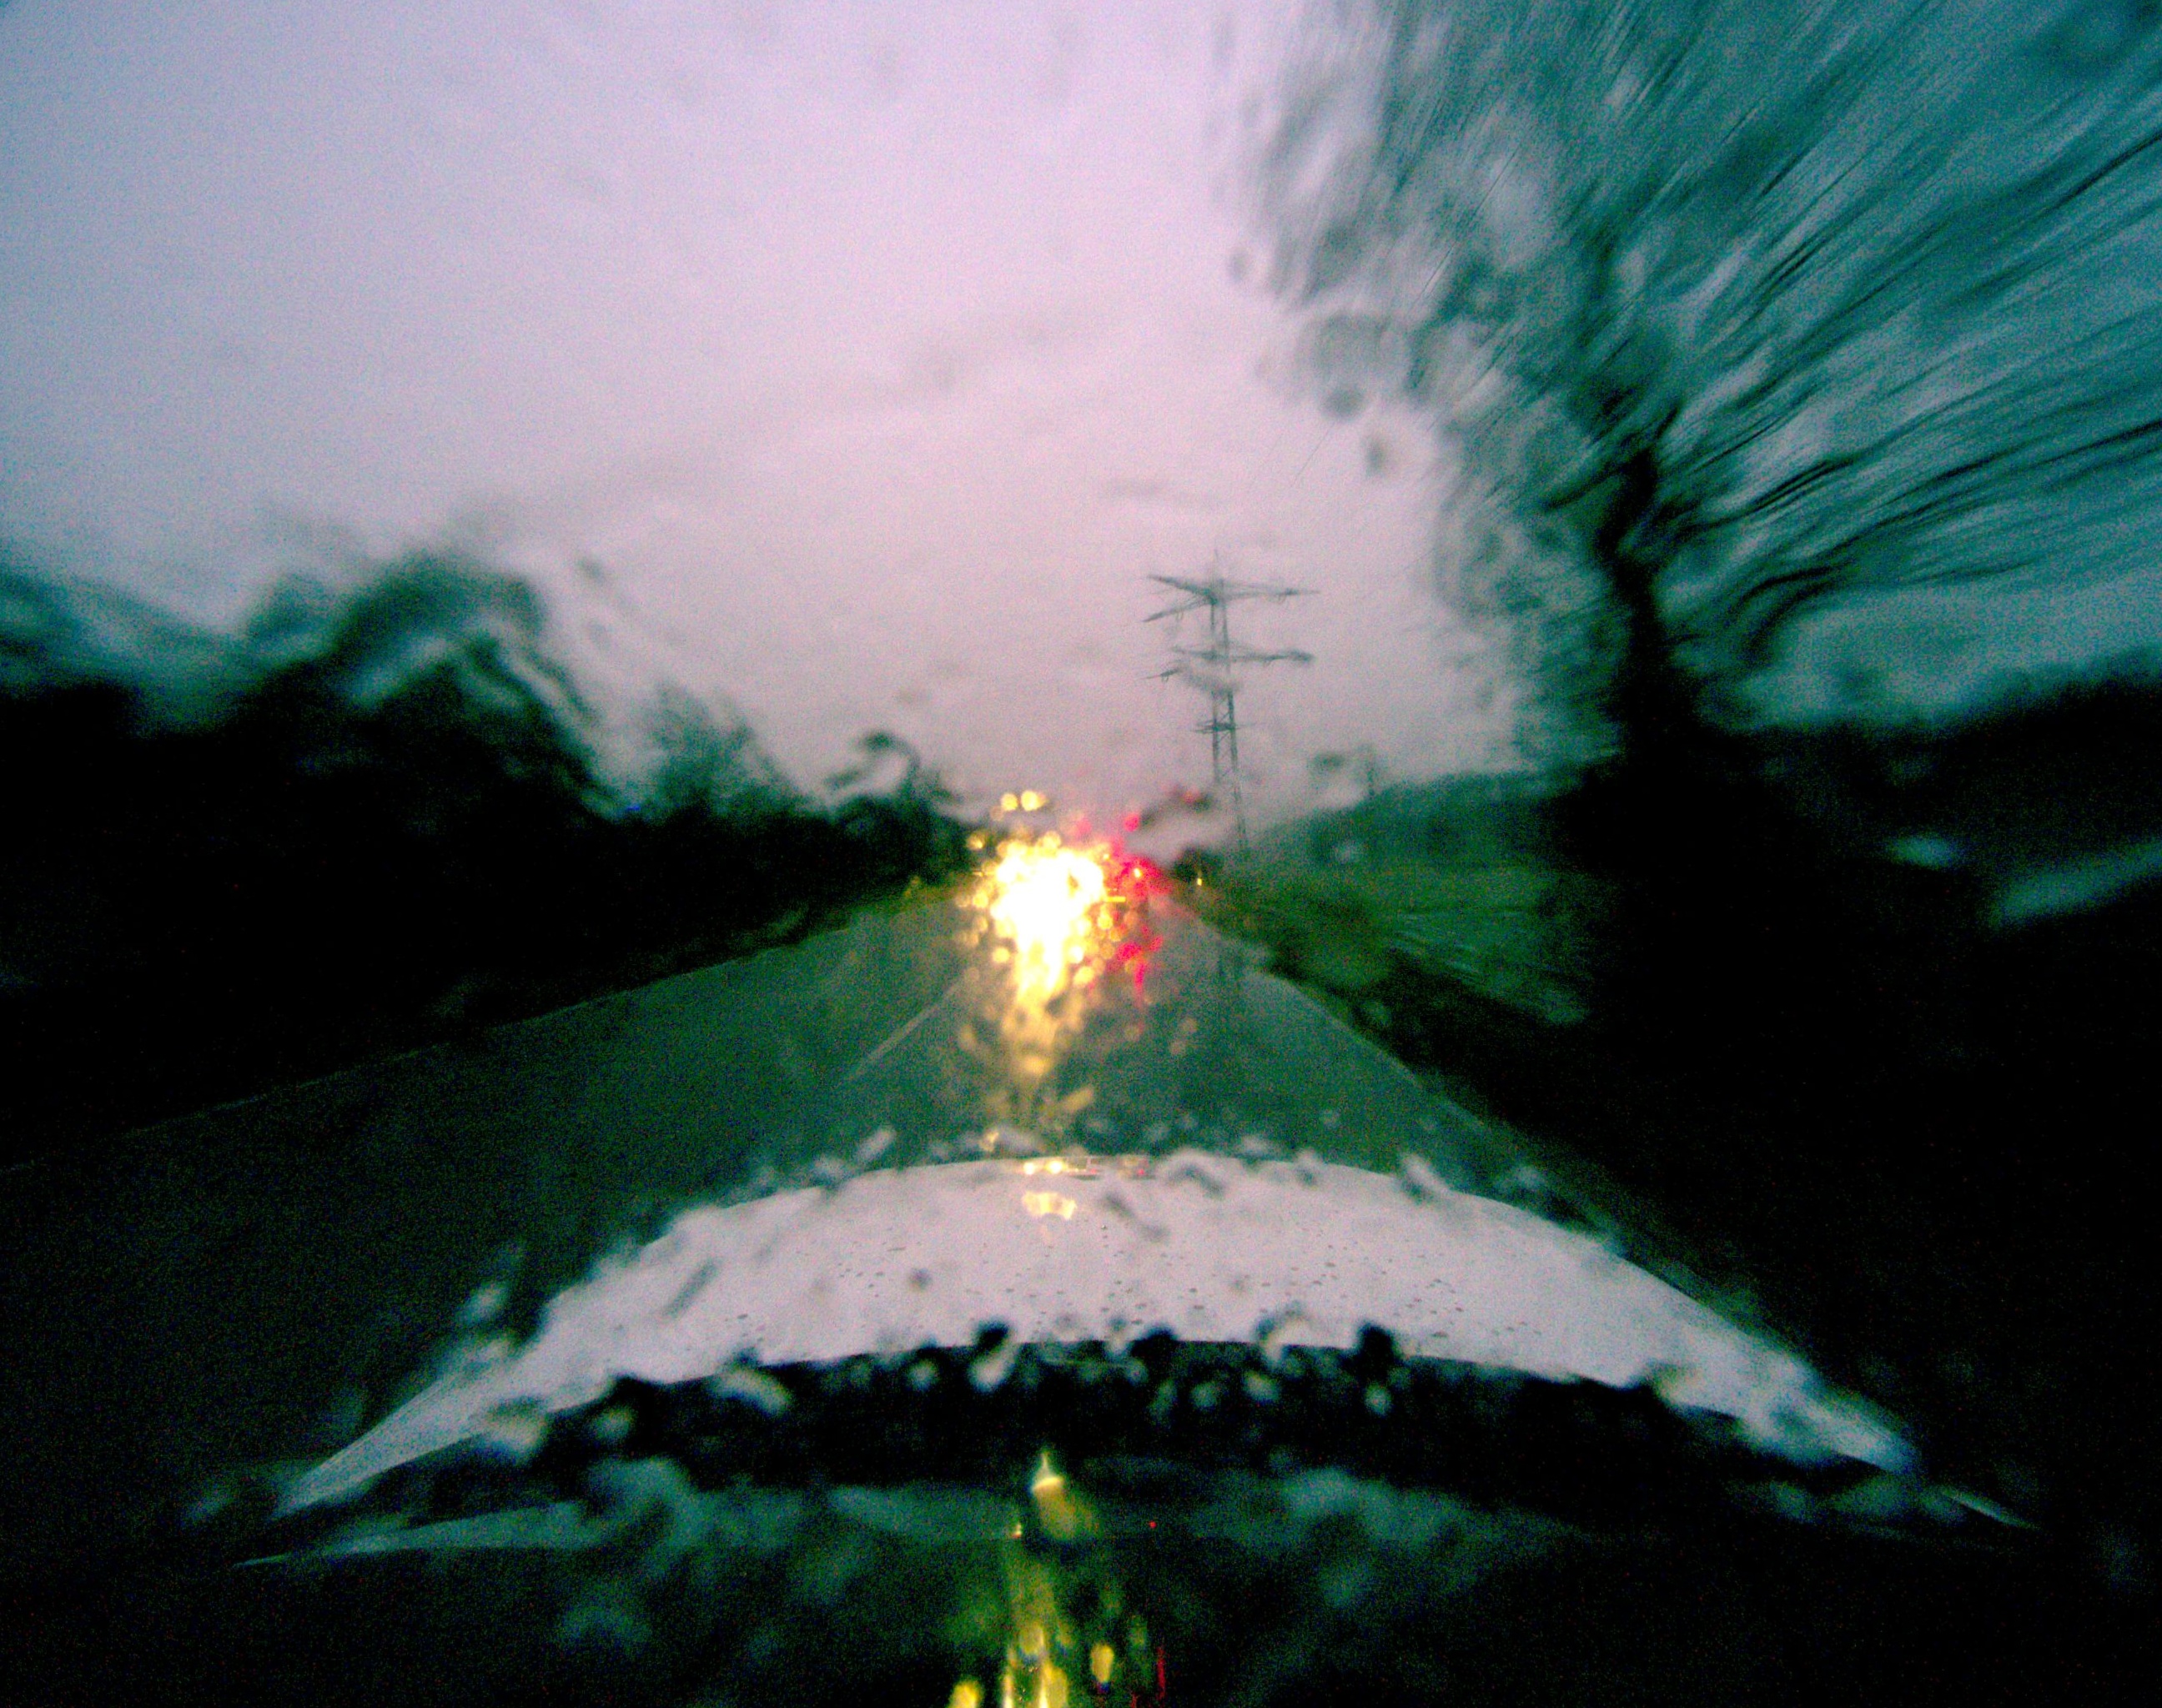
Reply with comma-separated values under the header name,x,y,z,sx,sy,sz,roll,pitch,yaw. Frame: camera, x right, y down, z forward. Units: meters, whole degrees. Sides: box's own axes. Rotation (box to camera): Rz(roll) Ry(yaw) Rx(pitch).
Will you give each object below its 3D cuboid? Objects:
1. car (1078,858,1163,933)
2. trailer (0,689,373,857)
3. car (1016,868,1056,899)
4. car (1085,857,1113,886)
name,x,y,z,sx,sy,sz,roll,pitch,yaw
car,1.005,1.012,21.483,1.986,1.752,4.001,-2,0,1
trailer,-25.431,-1.799,21.680,2.988,3.634,11.389,-1,-1,1
car,-2.453,1.613,45.579,1.801,1.536,4.409,2,0,2
car,1.408,1.302,61.615,1.986,2.013,4.002,-2,0,2
